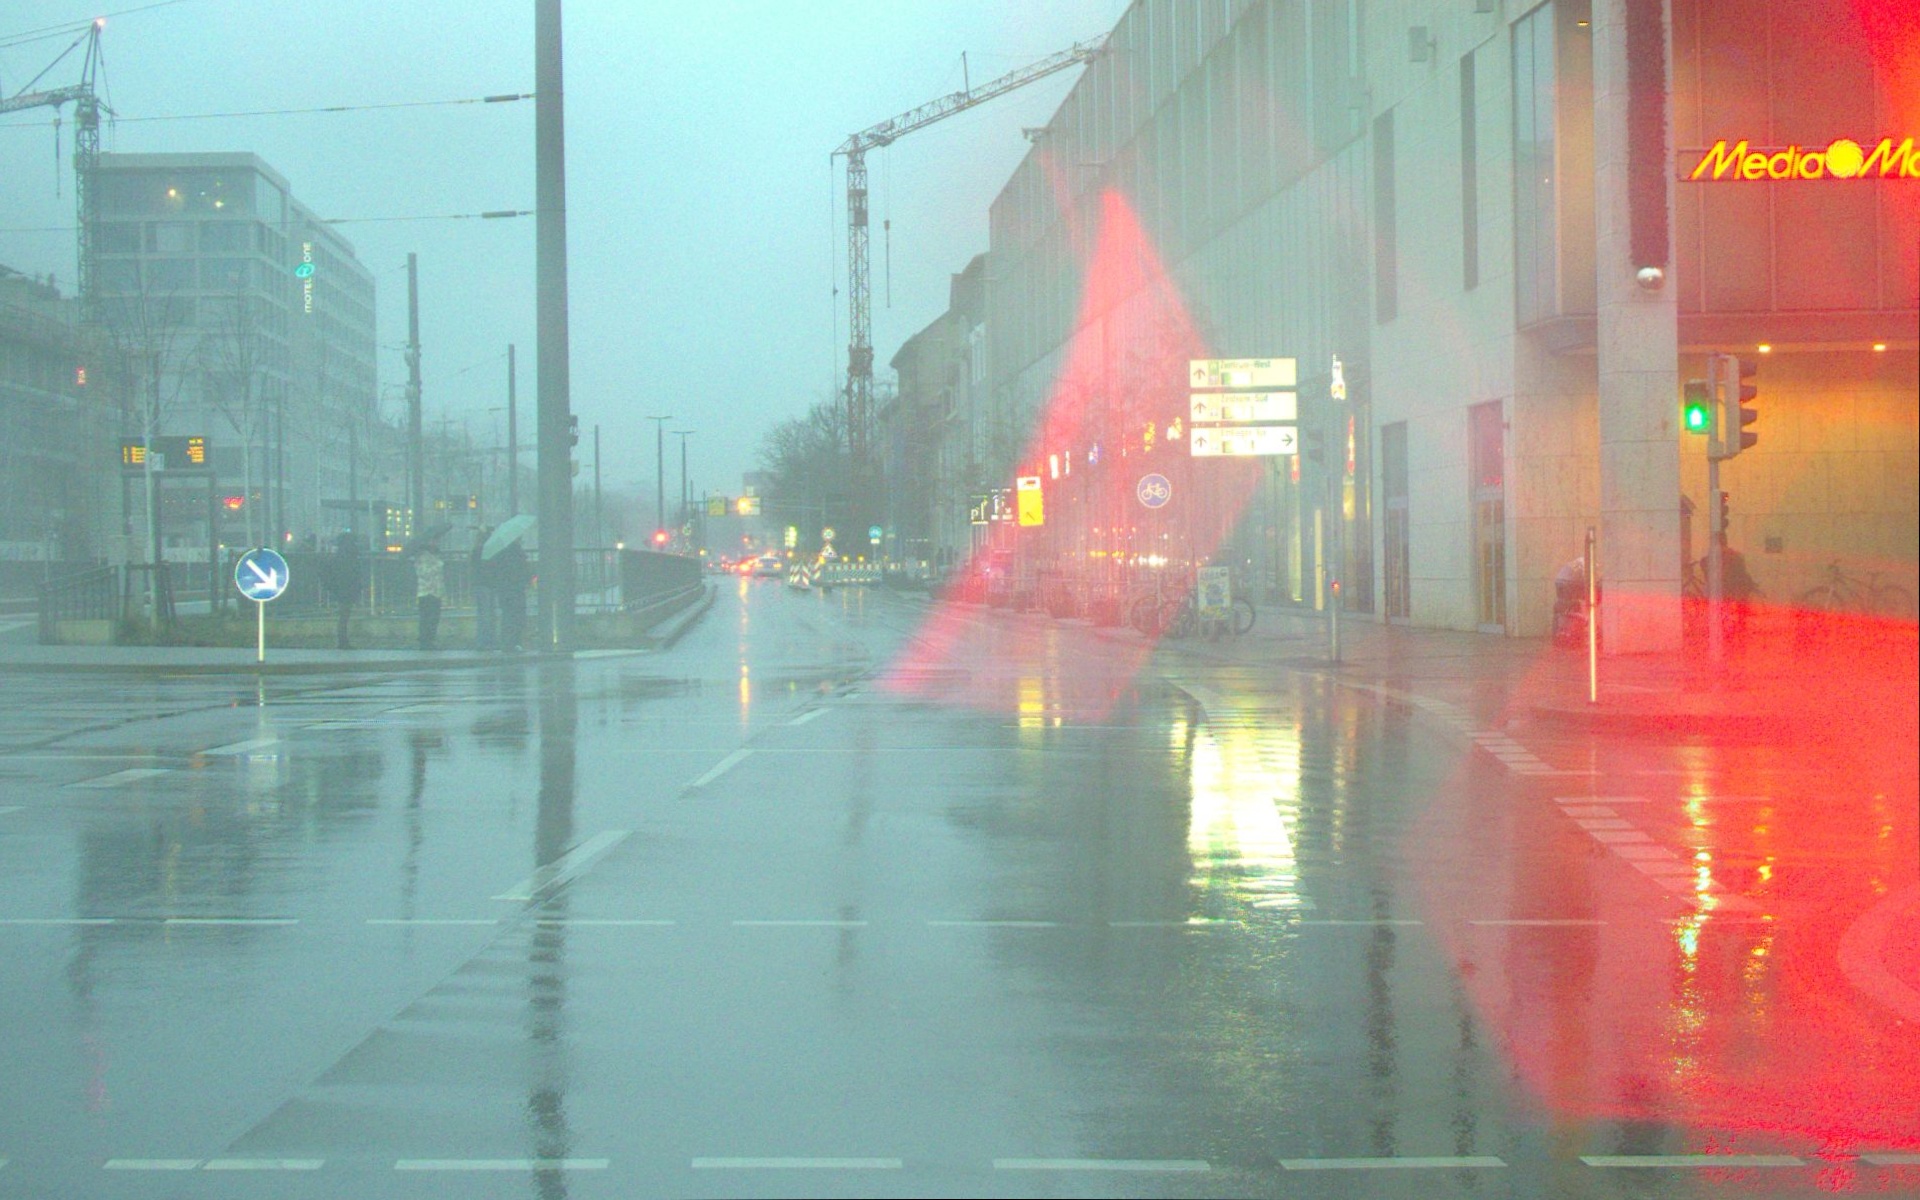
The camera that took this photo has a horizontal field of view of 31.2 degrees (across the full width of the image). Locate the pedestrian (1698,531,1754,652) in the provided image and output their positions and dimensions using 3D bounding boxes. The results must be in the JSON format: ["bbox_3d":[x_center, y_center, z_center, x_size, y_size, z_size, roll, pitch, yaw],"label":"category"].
[{"bbox_3d":[10.906,-0.121,48.962,0.636,1.703,0.573,-1,0,-1],"label":"pedestrian"}]

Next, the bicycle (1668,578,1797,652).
[{"bbox_3d":[11.381,0.222,50.667,1.767,1.066,0.525,1,0,-3],"label":"bicycle"}]

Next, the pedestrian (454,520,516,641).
[{"bbox_3d":[-6.625,-0.276,47.952,0.612,1.680,0.577,1,1,42],"label":"pedestrian"}]

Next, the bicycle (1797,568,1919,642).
[{"bbox_3d":[13.269,0.068,50.819,1.646,1.066,0.525,1,0,-4],"label":"bicycle"}]

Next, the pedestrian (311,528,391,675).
[{"bbox_3d":[-8.390,0.016,47.349,0.785,2.007,0.726,1,1,42],"label":"pedestrian"}]

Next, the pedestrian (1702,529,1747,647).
[{"bbox_3d":[10.857,-0.169,48.835,0.485,1.657,0.457,-1,0,30],"label":"pedestrian"}]

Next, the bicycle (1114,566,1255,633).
[{"bbox_3d":[4.019,-0.019,61.578,2.442,1.150,0.674,-1,0,-1],"label":"bicycle"}]

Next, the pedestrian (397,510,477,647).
[{"bbox_3d":[-7.086,-0.289,46.557,0.821,1.825,0.786,1,0,-31],"label":"pedestrian"}]

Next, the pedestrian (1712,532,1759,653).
[{"bbox_3d":[11.302,-0.110,50.128,0.600,1.739,0.524,1,0,8],"label":"pedestrian"}]
